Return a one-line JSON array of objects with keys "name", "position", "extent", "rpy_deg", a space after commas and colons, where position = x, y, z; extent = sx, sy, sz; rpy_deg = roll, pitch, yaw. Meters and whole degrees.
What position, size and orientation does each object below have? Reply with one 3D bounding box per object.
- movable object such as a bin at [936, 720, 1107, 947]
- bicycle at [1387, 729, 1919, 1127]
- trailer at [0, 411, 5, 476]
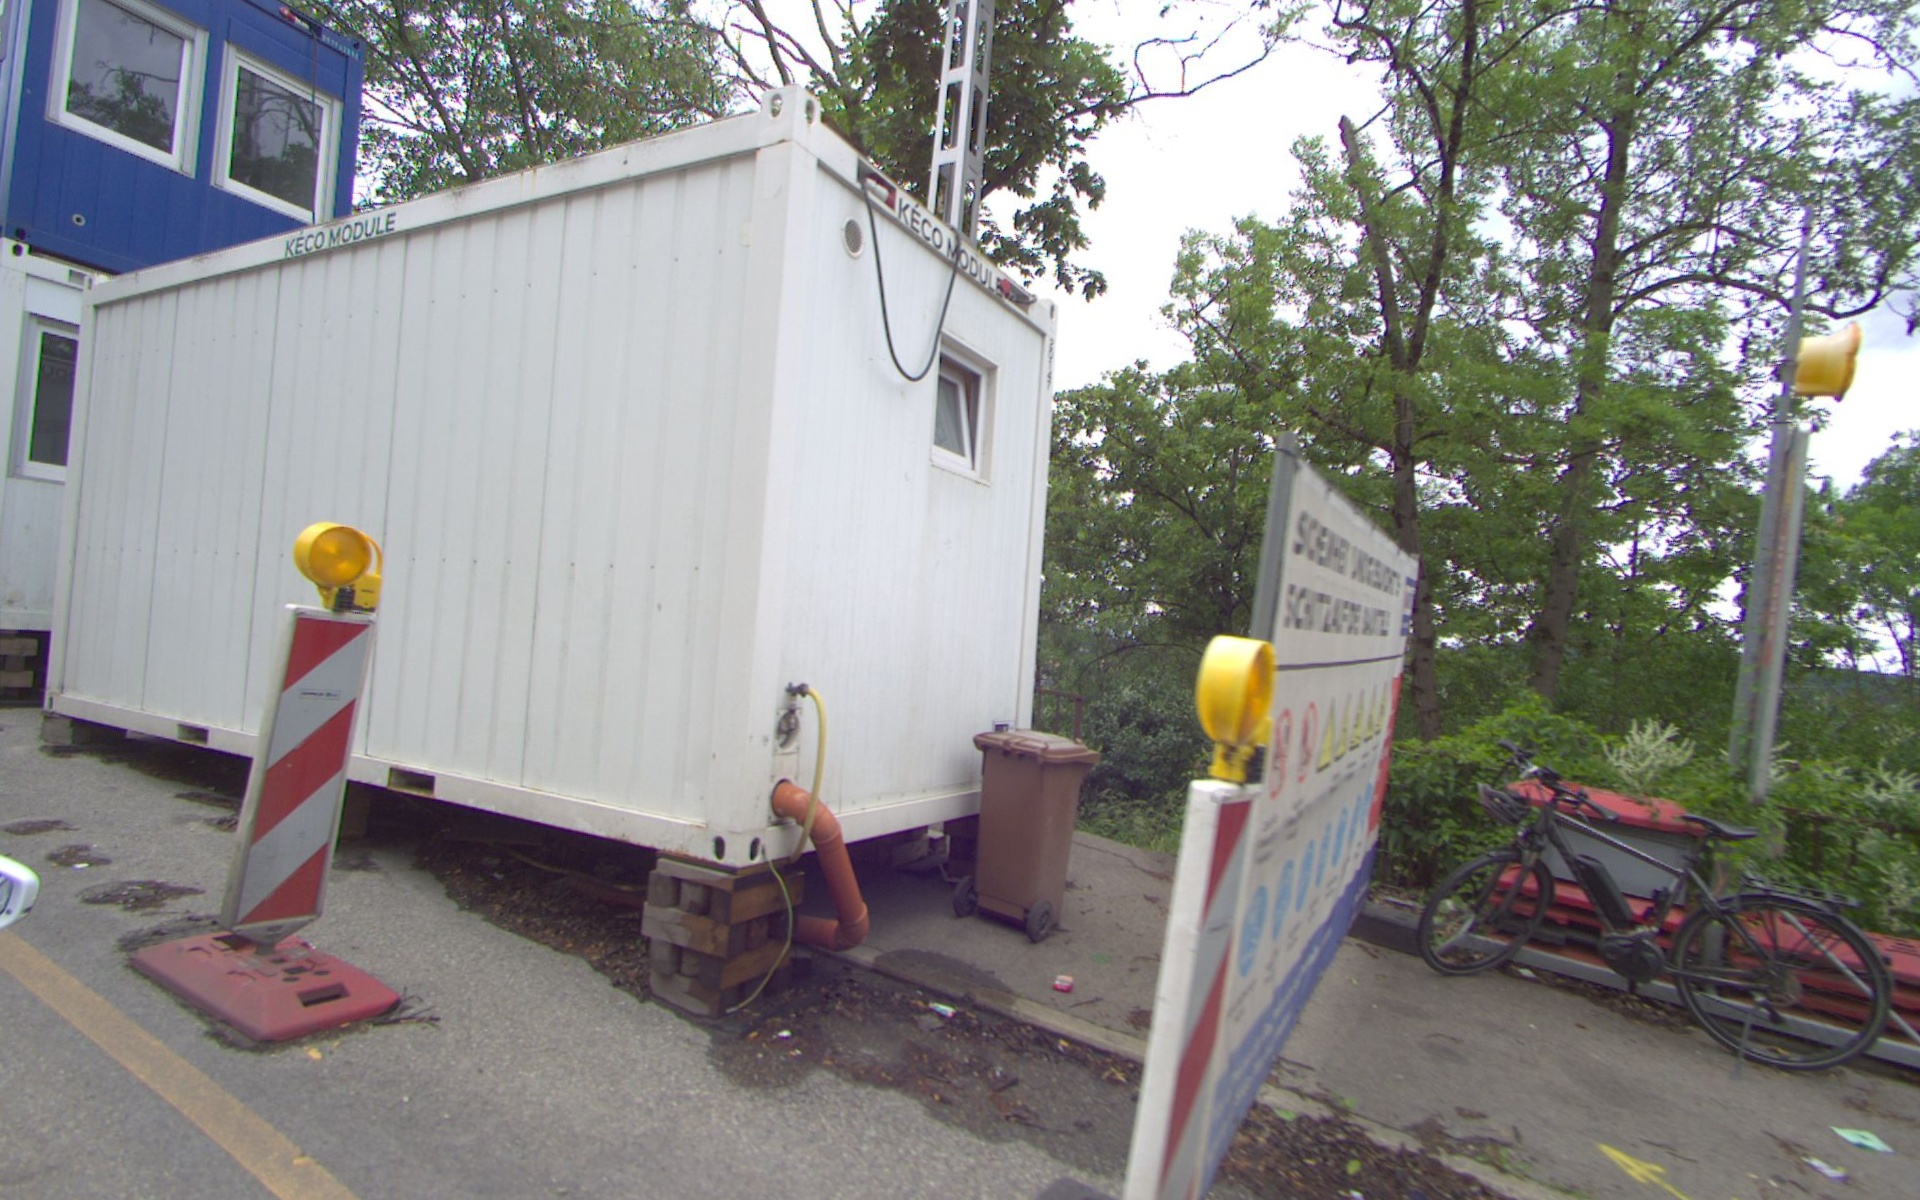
[{"name": "movable object such as a bin", "position": [0.305, 1.105, 4.924], "extent": [0.601, 0.921, 0.474], "rpy_deg": [7, 1, 27]}, {"name": "bicycle", "position": [2.877, 1.273, 4.303], "extent": [1.770, 1.122, 0.498], "rpy_deg": [7, 3, 32]}, {"name": "trailer", "position": [-16.130, -1.649, 14.056], "extent": [5.026, 2.582, 2.112], "rpy_deg": [7, 1, 23]}]
